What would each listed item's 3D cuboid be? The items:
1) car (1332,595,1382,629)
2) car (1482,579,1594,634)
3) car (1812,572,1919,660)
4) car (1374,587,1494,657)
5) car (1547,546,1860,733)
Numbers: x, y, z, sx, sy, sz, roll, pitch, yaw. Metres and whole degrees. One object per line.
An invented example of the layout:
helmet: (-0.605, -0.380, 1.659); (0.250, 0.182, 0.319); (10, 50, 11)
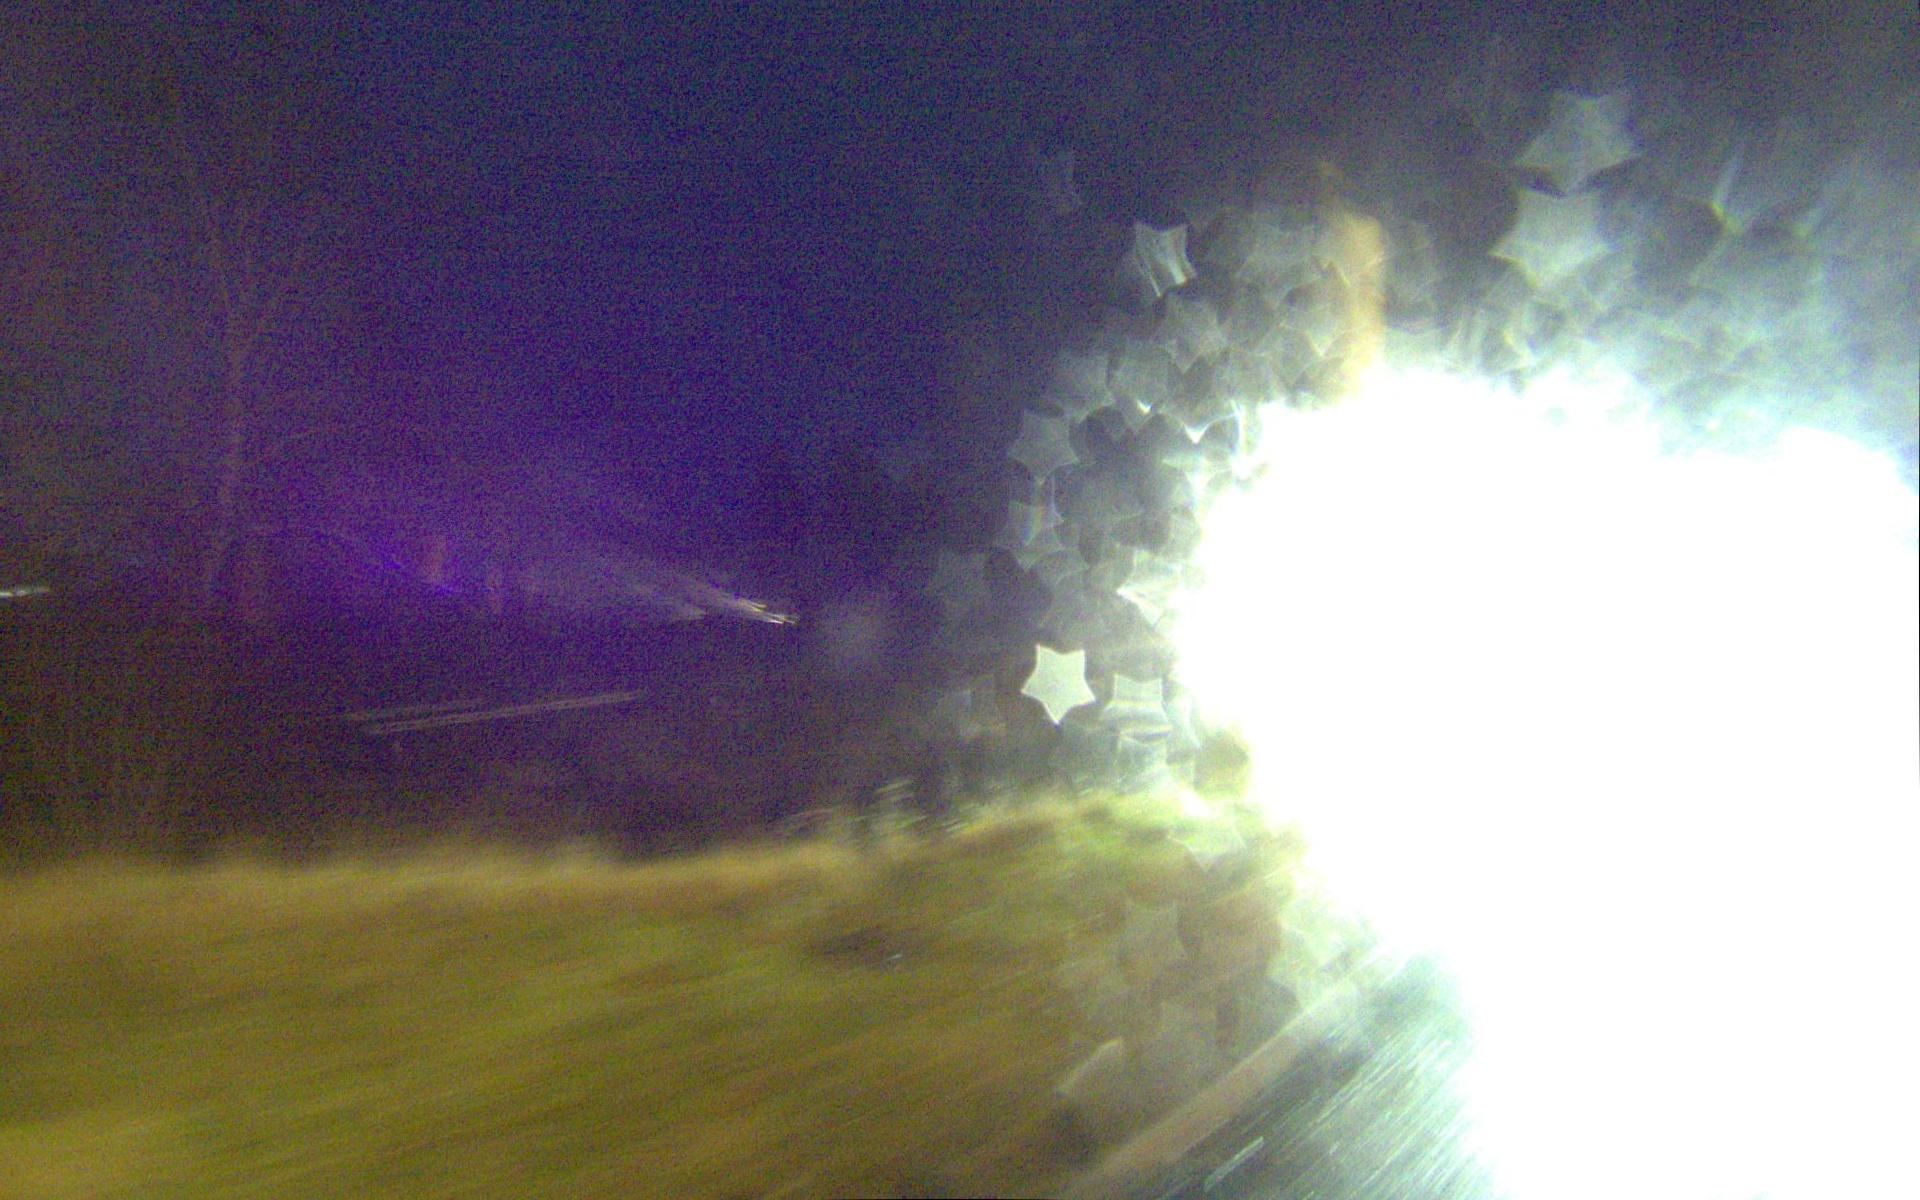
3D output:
car: (18.243, 0.564, 46.618); (1.657, 1.464, 4.153); (-2, -1, 16)
car: (19.479, 0.210, 34.297); (1.818, 1.727, 4.120); (-1, 0, 8)
car: (18.431, 0.331, 18.768); (1.756, 1.615, 4.234); (2, -1, 3)
car: (12.019, 0.550, 25.921); (1.661, 1.552, 3.975); (-3, -1, 10)
car: (9.125, 0.395, 12.923); (1.979, 1.949, 4.341); (-2, 0, 20)
